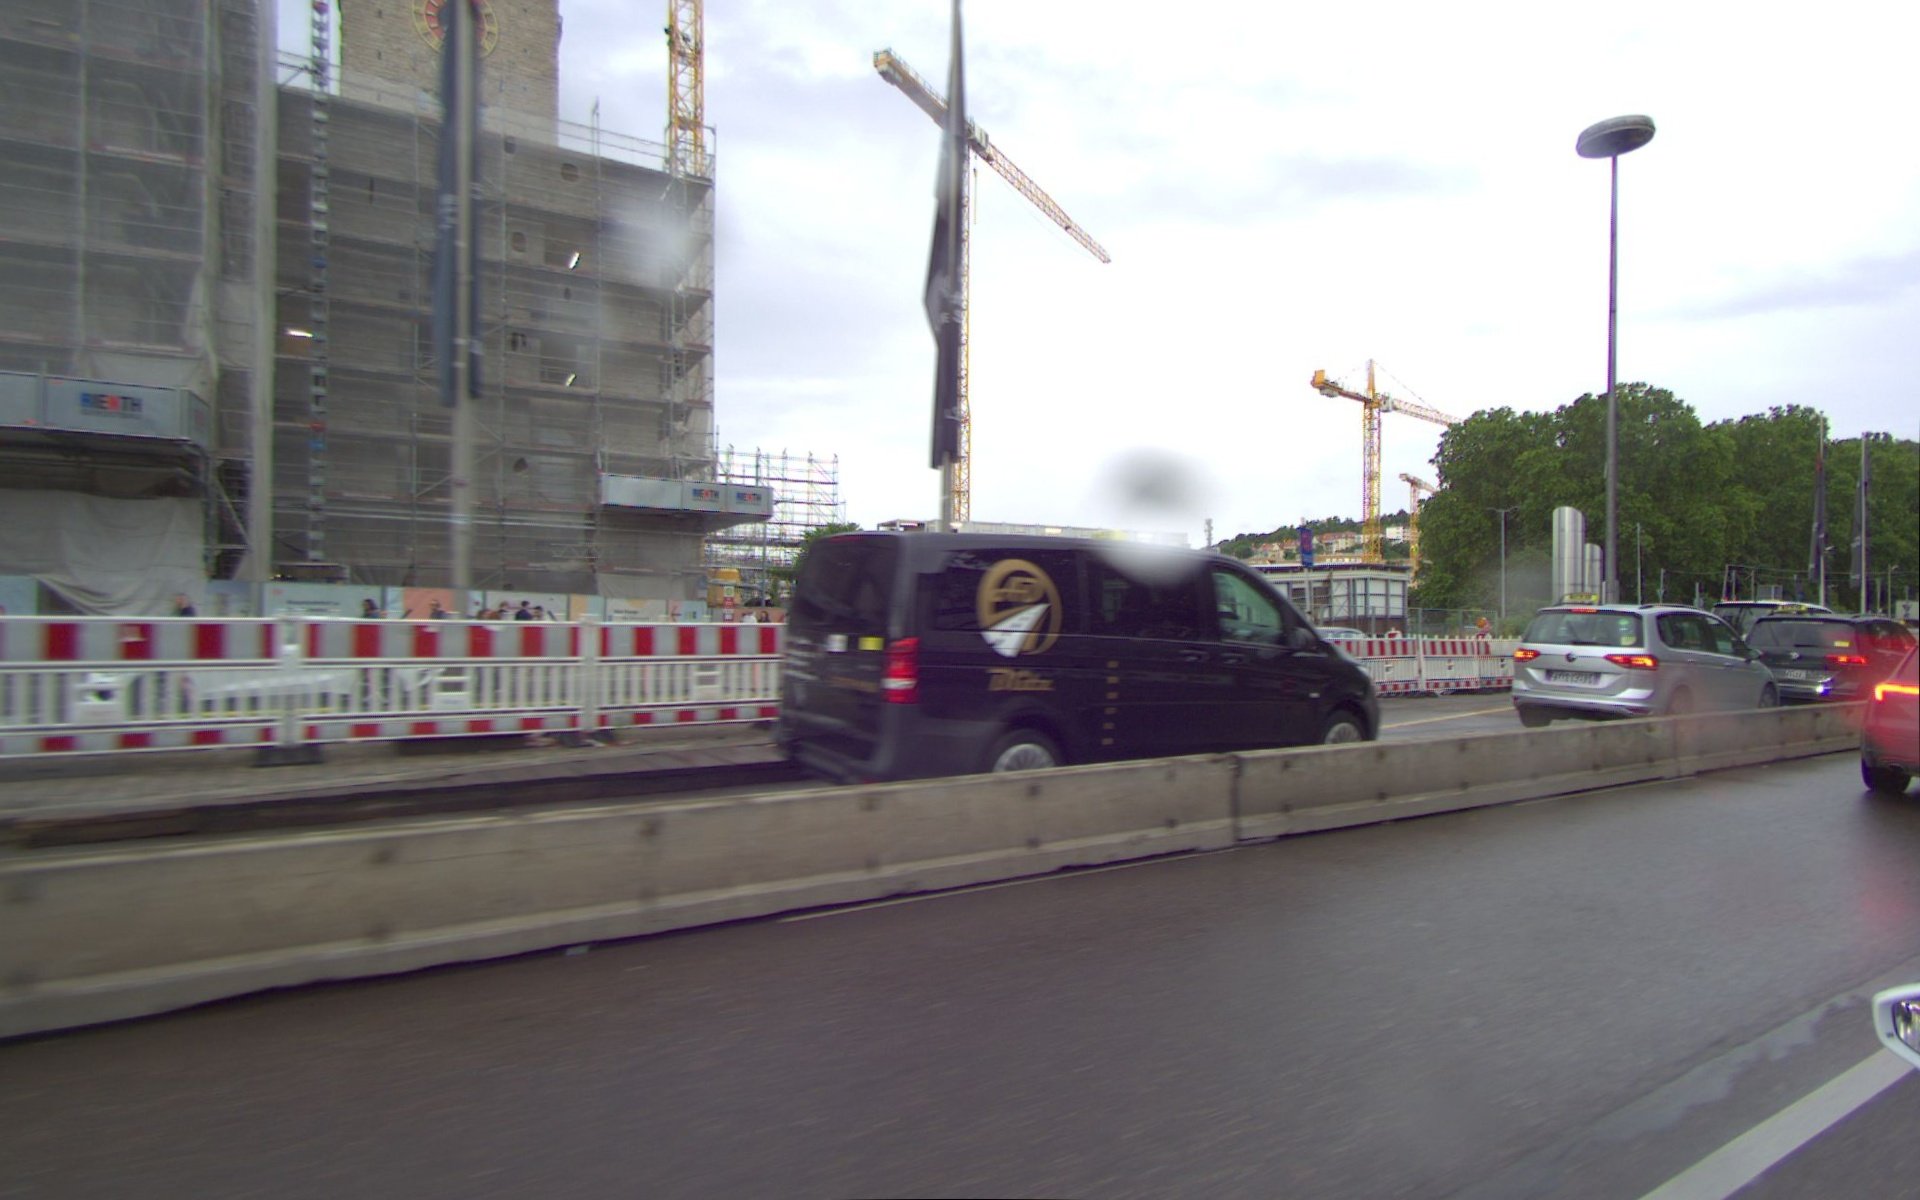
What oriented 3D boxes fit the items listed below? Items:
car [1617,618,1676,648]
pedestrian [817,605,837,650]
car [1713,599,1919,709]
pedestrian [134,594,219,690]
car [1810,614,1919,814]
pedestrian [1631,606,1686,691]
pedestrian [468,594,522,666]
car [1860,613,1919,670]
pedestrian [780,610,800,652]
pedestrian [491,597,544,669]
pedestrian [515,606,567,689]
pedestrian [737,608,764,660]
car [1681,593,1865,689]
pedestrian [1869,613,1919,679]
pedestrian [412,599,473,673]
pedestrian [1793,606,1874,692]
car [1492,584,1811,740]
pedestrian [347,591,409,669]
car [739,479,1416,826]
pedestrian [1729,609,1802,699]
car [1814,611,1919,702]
[{"bbox_3d":[64.350,3.107,94.190,5.721,2.737,2.373,2,-2,-30],"label":"car"},{"bbox_3d":[-5.703,1.167,42.994,0.718,1.906,0.640,1,-2,0],"label":"pedestrian"},{"bbox_3d":[14.200,0.842,16.289,4.444,1.531,1.812,2,0,-34],"label":"car"},{"bbox_3d":[-15.159,0.814,19.474,0.965,1.812,0.834,2,-2,-13],"label":"pedestrian"},{"bbox_3d":[9.527,0.945,8.798,4.799,1.528,1.867,2,-1,-33],"label":"car"},{"bbox_3d":[15.002,1.036,21.577,0.812,1.777,0.632,2,0,-27],"label":"pedestrian"},{"bbox_3d":[-12.701,0.813,27.452,1.008,1.906,0.836,1,-2,-1],"label":"pedestrian"},{"bbox_3d":[29.632,1.290,31.118,4.015,1.651,1.703,2,0,-35],"label":"car"},{"bbox_3d":[-7.889,1.432,46.652,0.788,1.906,0.659,1,-2,0],"label":"pedestrian"},{"bbox_3d":[-12.056,0.908,27.400,1.007,1.906,0.836,1,-2,1],"label":"pedestrian"},{"bbox_3d":[-9.846,1.120,23.630,0.843,1.906,0.717,1,-2,0],"label":"pedestrian"},{"bbox_3d":[-7.859,1.272,37.705,0.785,1.906,0.662,1,-2,0],"label":"pedestrian"},{"bbox_3d":[19.411,0.956,23.897,5.316,2.040,1.980,2,0,-35],"label":"car"},{"bbox_3d":[25.073,1.220,26.803,0.827,1.704,1.018,1,0,-33],"label":"pedestrian"},{"bbox_3d":[-12.181,0.849,23.654,1.010,1.685,0.834,0,-2,31],"label":"pedestrian"},{"bbox_3d":[17.667,0.971,20.331,0.826,1.697,1.020,1,0,-30],"label":"pedestrian"},{"bbox_3d":[9.165,0.744,13.186,4.724,1.718,1.812,2,0,-34],"label":"car"},{"bbox_3d":[-14.635,0.754,25.279,1.008,1.906,0.836,1,-2,-3],"label":"pedestrian"},{"bbox_3d":[1.085,0.347,7.646,5.010,1.870,1.981,2,0,-34],"label":"car"},{"bbox_3d":[16.662,1.100,20.791,1.015,1.807,0.830,1,0,-28],"label":"pedestrian"},{"bbox_3d":[18.538,1.068,19.104,4.947,1.531,1.963,2,0,-31],"label":"car"}]
